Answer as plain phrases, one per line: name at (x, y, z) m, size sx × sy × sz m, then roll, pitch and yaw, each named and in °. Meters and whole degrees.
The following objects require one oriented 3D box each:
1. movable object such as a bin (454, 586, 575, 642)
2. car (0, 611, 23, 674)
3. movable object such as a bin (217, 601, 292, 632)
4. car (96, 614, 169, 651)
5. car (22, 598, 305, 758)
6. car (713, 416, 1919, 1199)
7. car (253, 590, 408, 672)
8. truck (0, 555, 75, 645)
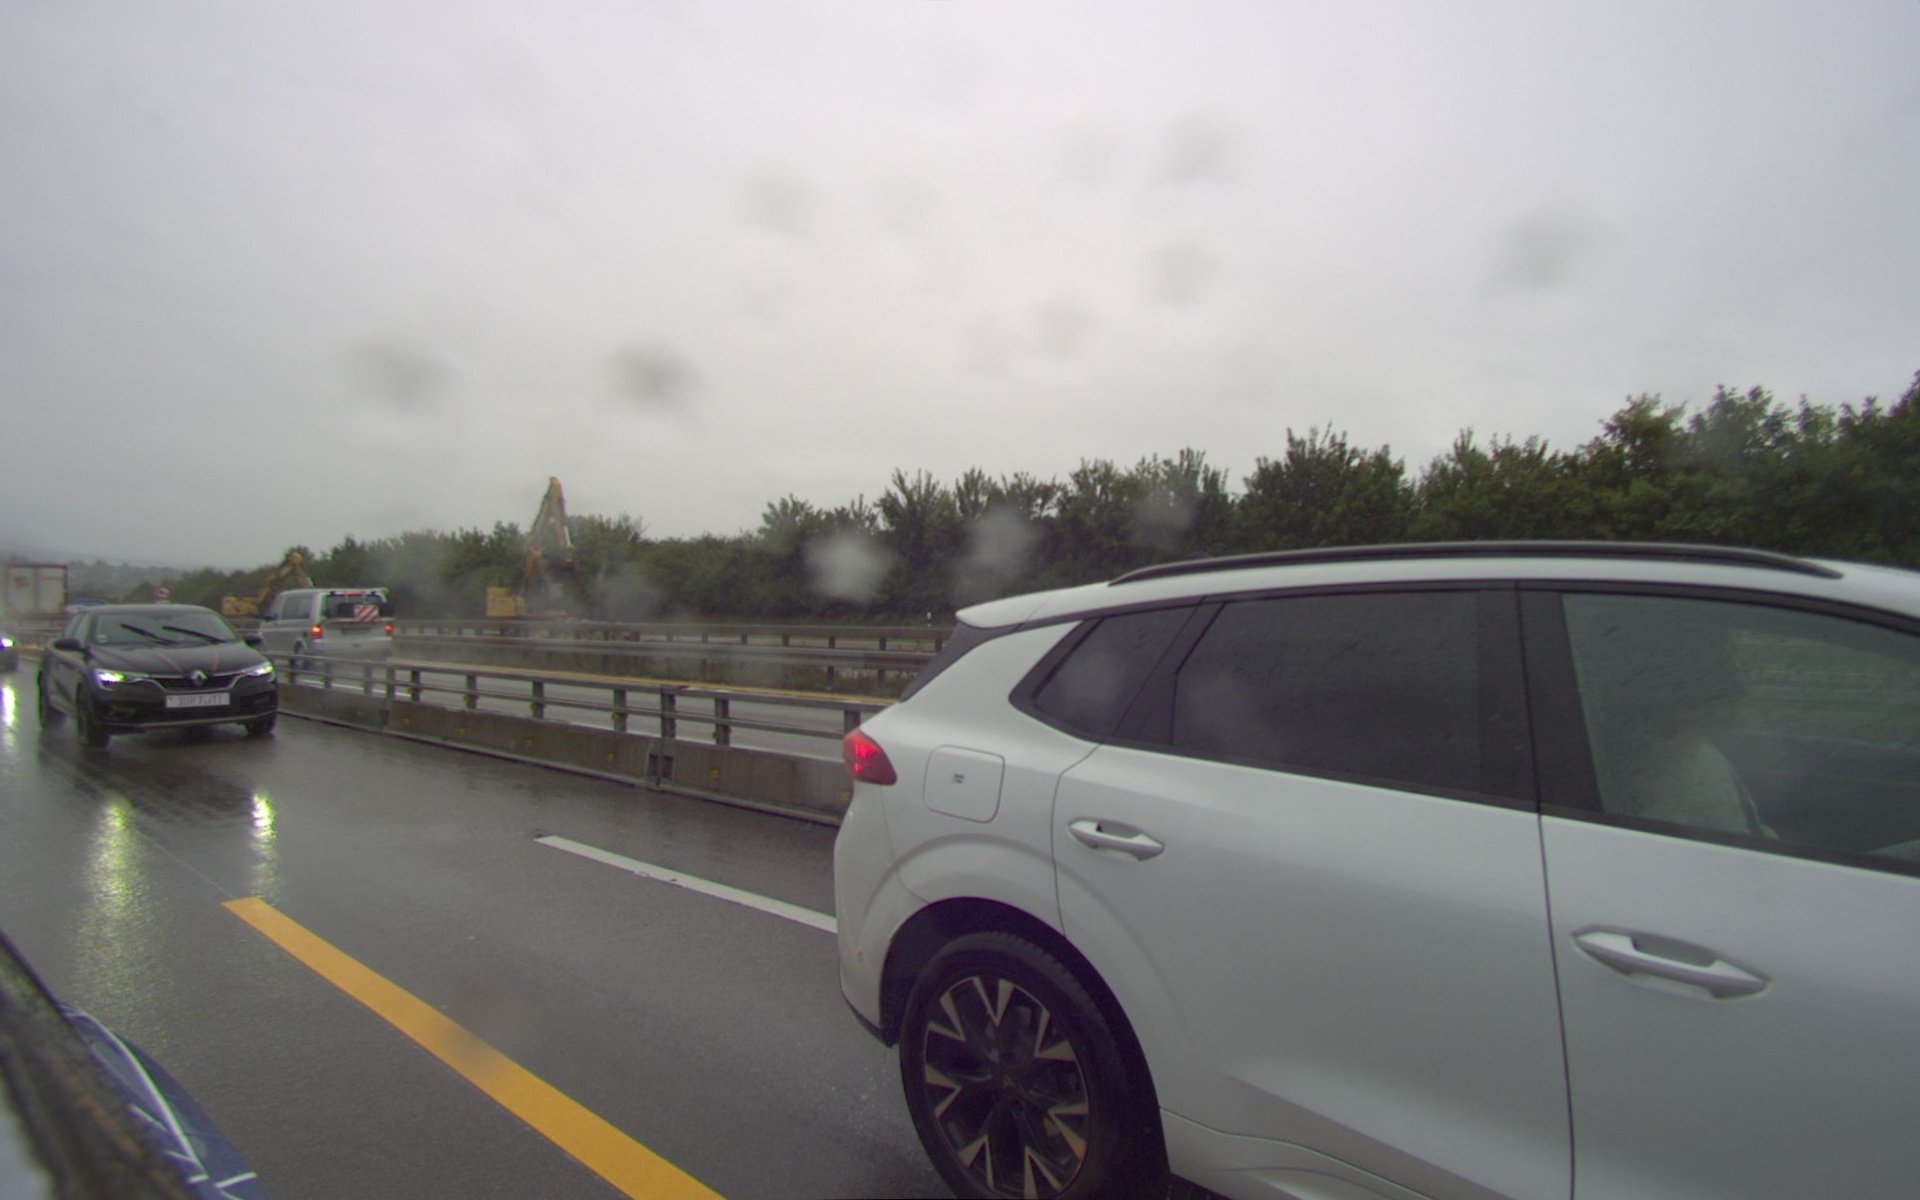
movable object such as a bin at (-24.079, 0.707, 54.639) m, size 6.328 × 2.819 × 3.725 m, roll -1°, pitch 0°, yaw 42°
car at (-25.194, 1.041, 25.325) m, size 4.626 × 1.509 × 1.974 m, roll -1°, pitch 0°, yaw 40°
movable object such as a bin at (-56.229, 1.312, 80.676) m, size 5.089 × 2.312 × 3.409 m, roll -1°, pitch 0°, yaw 35°
car at (-34.415, 1.322, 42.071) m, size 3.830 × 1.439 × 1.683 m, roll -1°, pitch 0°, yaw 40°
car at (-9.865, 0.807, 12.405) m, size 4.412 × 1.597 × 1.973 m, roll -1°, pitch 0°, yaw 42°
car at (1.699, 0.584, 2.103) m, size 4.796 × 1.629 × 1.972 m, roll -1°, pitch 0°, yaw 43°
car at (-15.694, 0.716, 25.120) m, size 5.052 × 1.820 × 1.872 m, roll -1°, pitch 0°, yaw 41°
truck at (-57.066, 0.076, 61.081) m, size 15.975 × 4.873 × 3.241 m, roll -1°, pitch 0°, yaw 41°
